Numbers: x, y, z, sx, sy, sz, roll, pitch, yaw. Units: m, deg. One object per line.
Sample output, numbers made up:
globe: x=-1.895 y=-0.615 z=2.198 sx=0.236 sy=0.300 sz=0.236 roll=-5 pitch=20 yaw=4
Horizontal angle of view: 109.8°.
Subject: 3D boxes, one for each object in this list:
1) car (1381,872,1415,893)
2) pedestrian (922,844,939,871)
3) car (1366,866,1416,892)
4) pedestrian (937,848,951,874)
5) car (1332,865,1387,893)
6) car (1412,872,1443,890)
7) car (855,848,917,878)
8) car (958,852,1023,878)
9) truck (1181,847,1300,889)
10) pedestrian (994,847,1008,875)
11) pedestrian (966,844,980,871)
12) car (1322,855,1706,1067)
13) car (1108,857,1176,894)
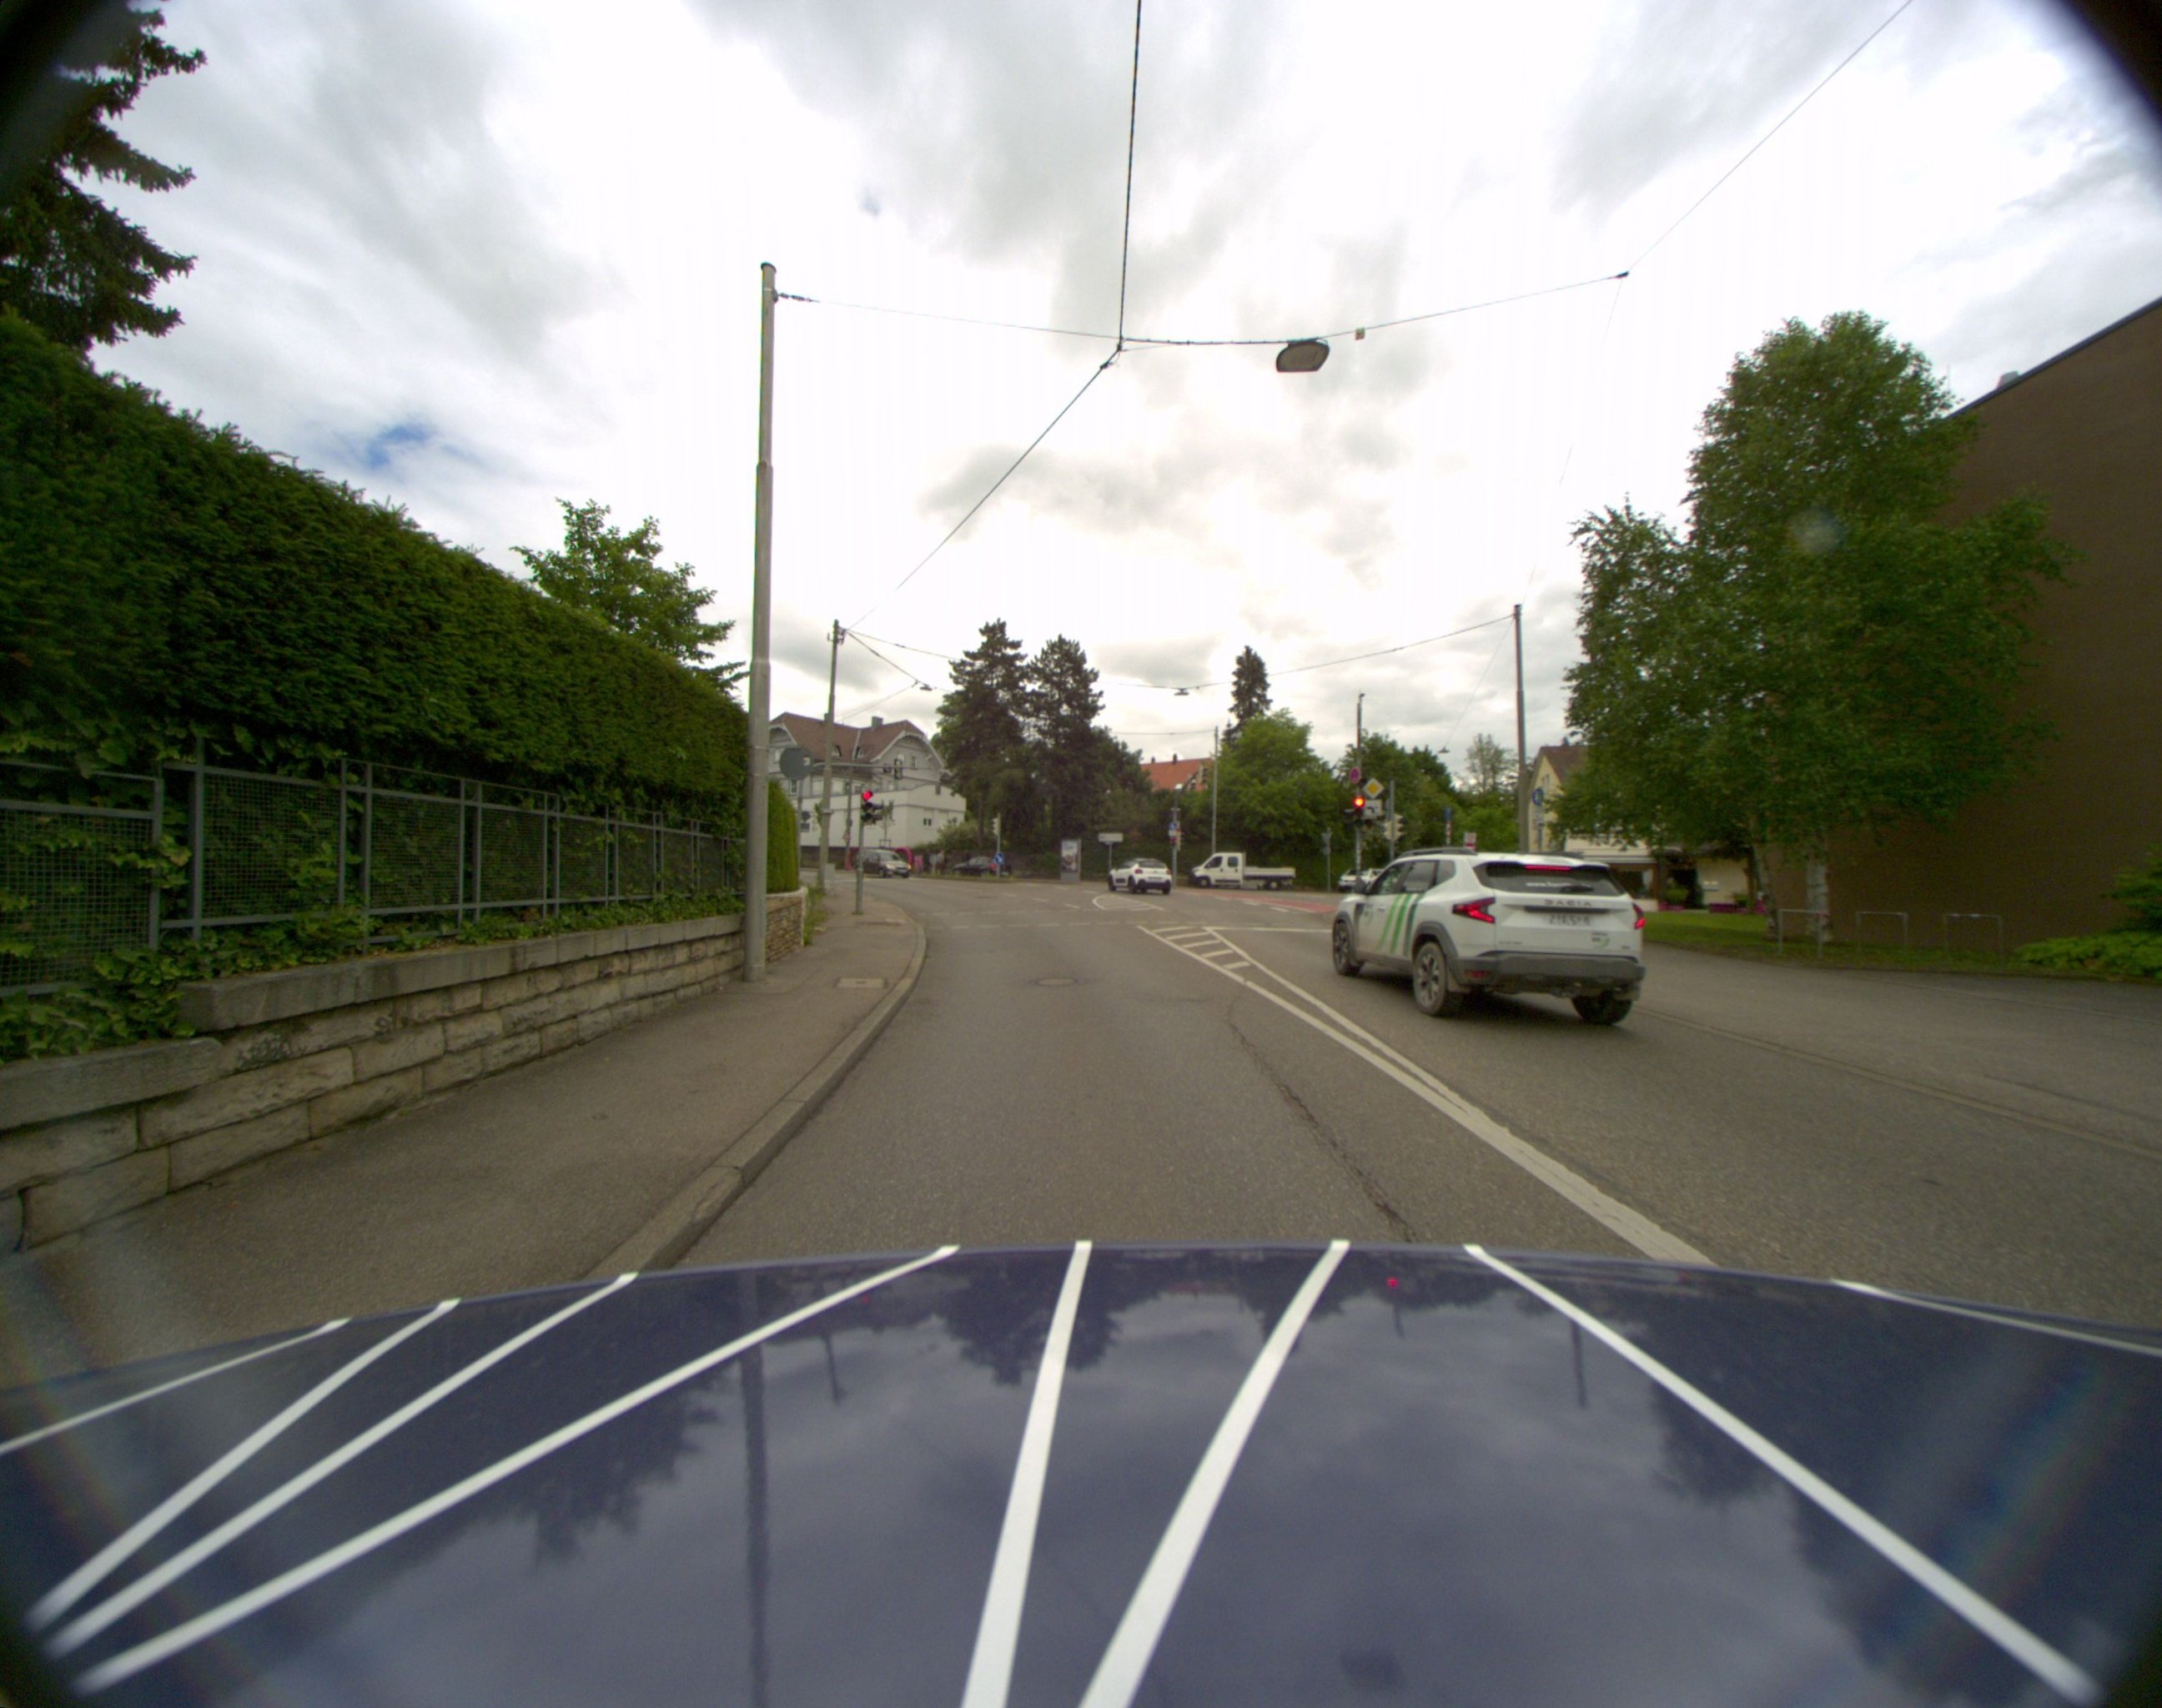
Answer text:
car: x=23.967 y=2.105 z=57.344 sx=1.867 sy=1.444 sz=3.739 roll=0 pitch=-1 yaw=30
pedestrian: x=-10.445 y=0.240 z=52.658 sx=0.686 sy=1.803 sz=0.882 roll=2 pitch=0 yaw=30
car: x=21.252 y=1.699 z=52.044 sx=1.994 sy=1.603 sz=4.009 roll=2 pitch=0 yaw=40
pedestrian: x=-9.309 y=0.482 z=51.634 sx=0.665 sy=1.777 sz=0.614 roll=2 pitch=0 yaw=31
car: x=17.543 y=1.567 z=47.811 sx=1.994 sy=1.603 sz=4.009 roll=2 pitch=0 yaw=40
car: x=31.960 y=2.446 z=70.045 sx=1.866 sy=1.577 sz=3.739 roll=1 pitch=0 yaw=36
car: x=-10.955 y=0.465 z=42.620 sx=1.622 sy=1.571 sz=3.989 roll=0 pitch=1 yaw=-43
car: x=-5.425 y=0.637 z=45.225 sx=1.772 sy=1.400 sz=3.988 roll=2 pitch=0 yaw=-42
truck: x=9.507 y=0.806 z=45.559 sx=6.706 sy=2.176 sz=2.532 roll=2 pitch=1 yaw=12
pedestrian: x=-5.387 y=0.486 z=51.302 sx=0.611 sy=1.824 sz=0.680 roll=2 pitch=0 yaw=27
pedestrian: x=-7.464 y=0.272 z=52.490 sx=0.611 sy=1.824 sz=0.605 roll=2 pitch=0 yaw=28
car: x=4.215 y=0.877 z=8.364 sx=1.773 sy=1.628 sz=4.302 roll=3 pitch=0 yaw=1
car: x=2.552 y=0.876 z=32.485 sx=1.702 sy=1.431 sz=3.751 roll=1 pitch=1 yaw=-15
